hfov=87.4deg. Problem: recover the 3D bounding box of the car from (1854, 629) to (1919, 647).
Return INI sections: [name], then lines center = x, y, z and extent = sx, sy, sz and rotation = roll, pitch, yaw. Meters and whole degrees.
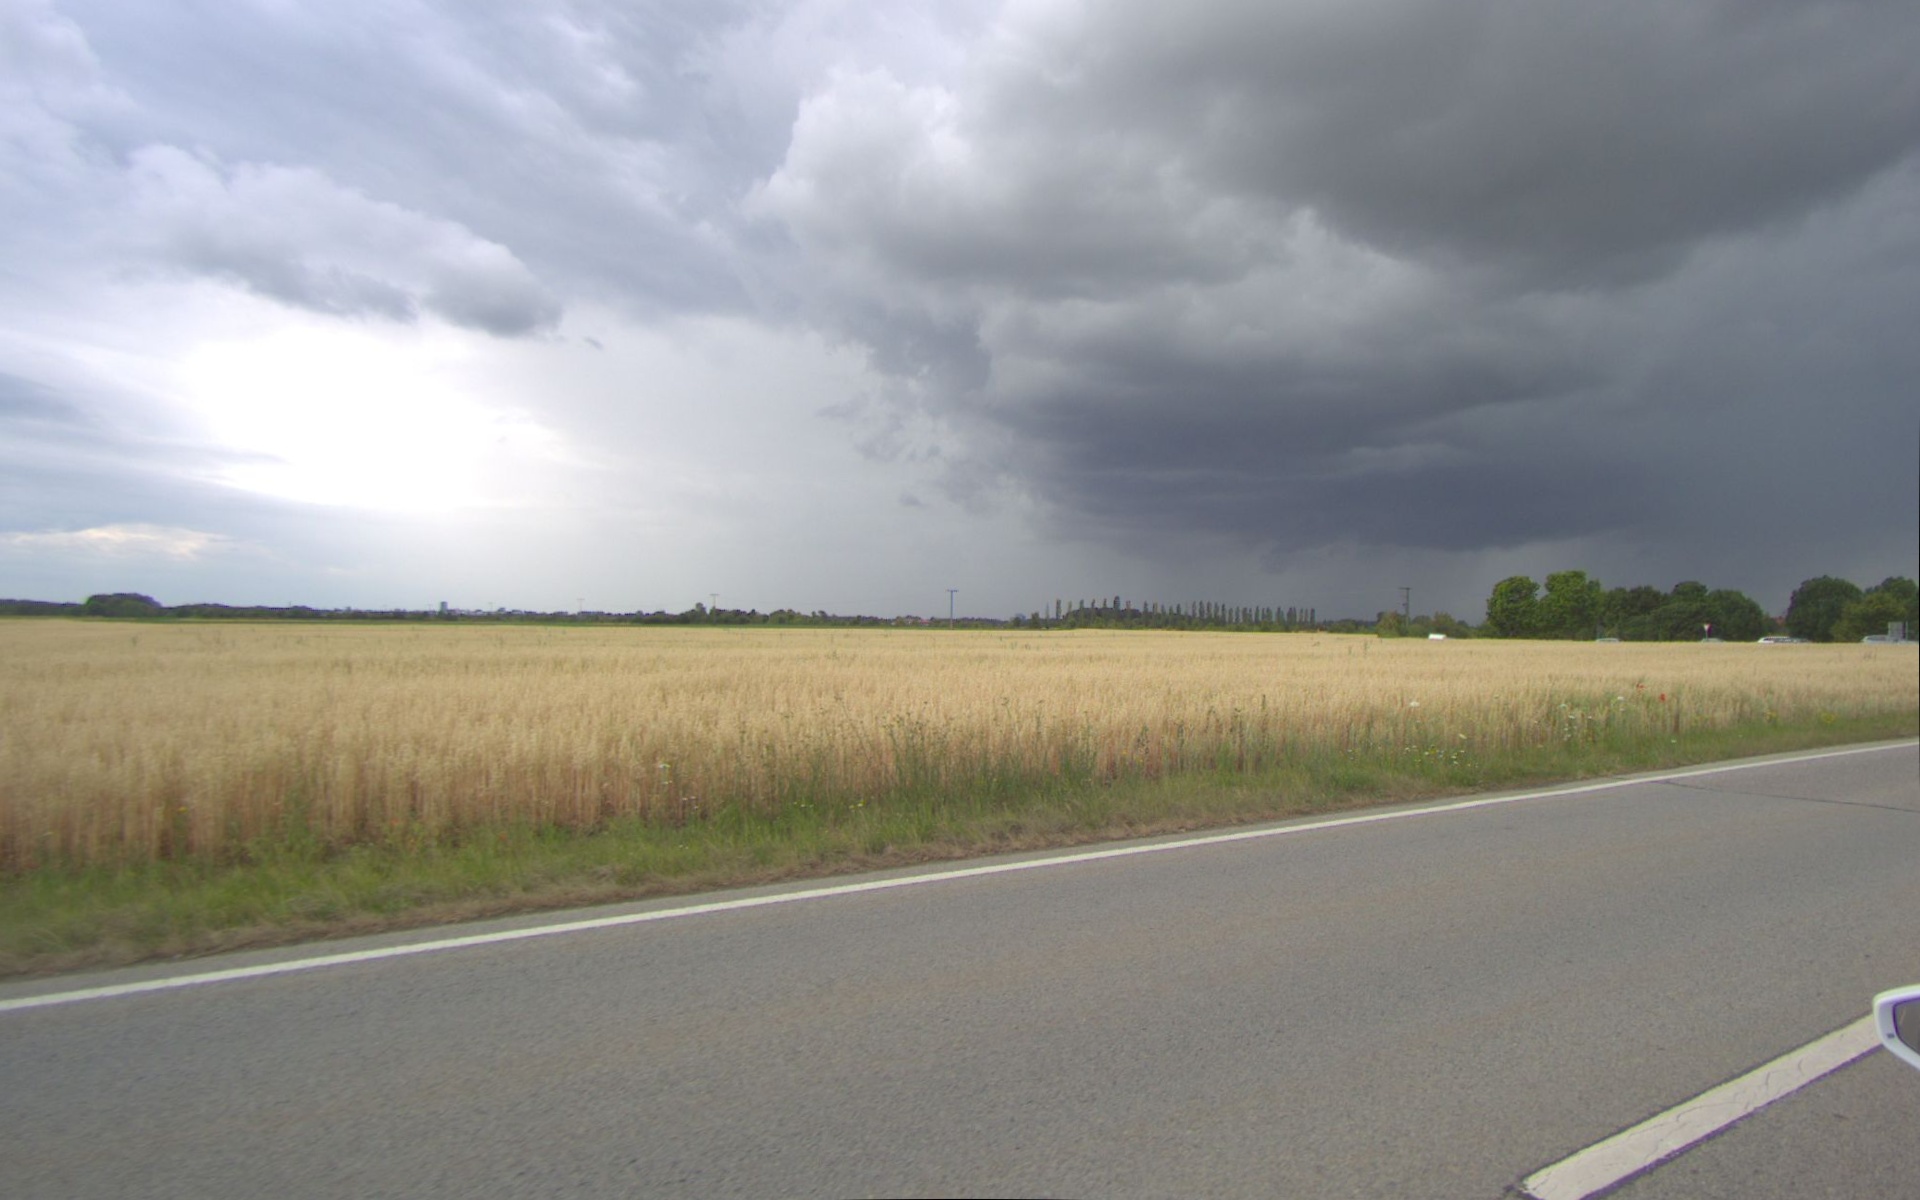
[car]
center = 85.592, 3.495, 92.871
extent = 1.841, 1.670, 4.060
rotation = 1, -2, -25
